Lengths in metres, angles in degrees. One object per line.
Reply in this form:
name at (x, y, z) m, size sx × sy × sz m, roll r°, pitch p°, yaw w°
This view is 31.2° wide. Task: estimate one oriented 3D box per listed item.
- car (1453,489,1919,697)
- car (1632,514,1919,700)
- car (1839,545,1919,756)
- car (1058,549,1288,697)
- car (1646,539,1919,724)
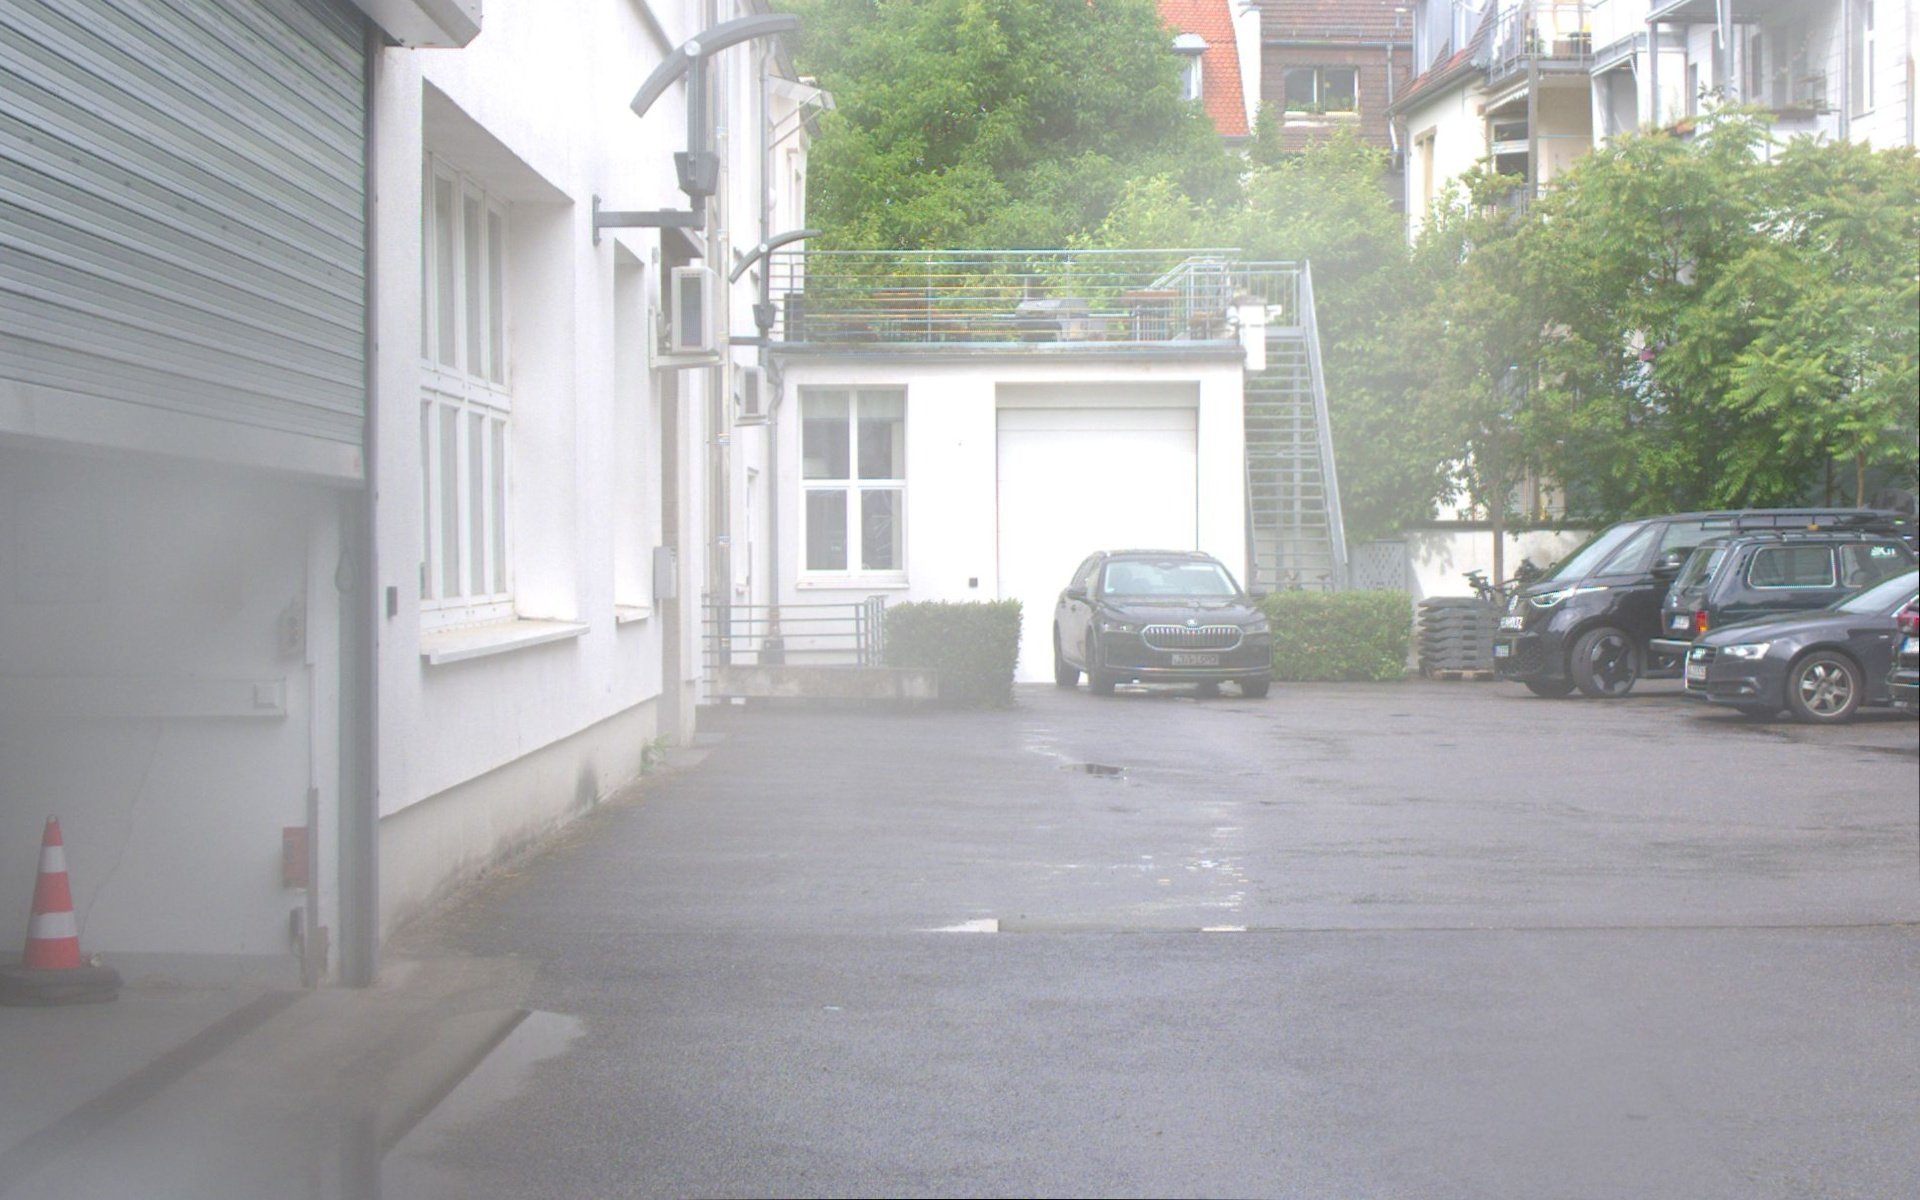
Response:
car at (7.743, -0.107, 35.917) m, size 4.634 × 1.996 × 2.226 m, roll -1°, pitch 1°, yaw -10°
car at (8.648, 0.042, 33.148) m, size 3.908 × 1.682 × 1.817 m, roll -1°, pitch 0°, yaw -1°
car at (8.722, 0.314, 25.345) m, size 3.908 × 1.508 × 1.820 m, roll -1°, pitch 0°, yaw -7°
car at (2.135, 0.196, 35.516) m, size 1.979 × 1.439 × 4.001 m, roll 0°, pitch 1°, yaw -2°
car at (8.139, 0.234, 29.862) m, size 3.908 × 1.508 × 1.752 m, roll -1°, pitch 0°, yaw -5°
